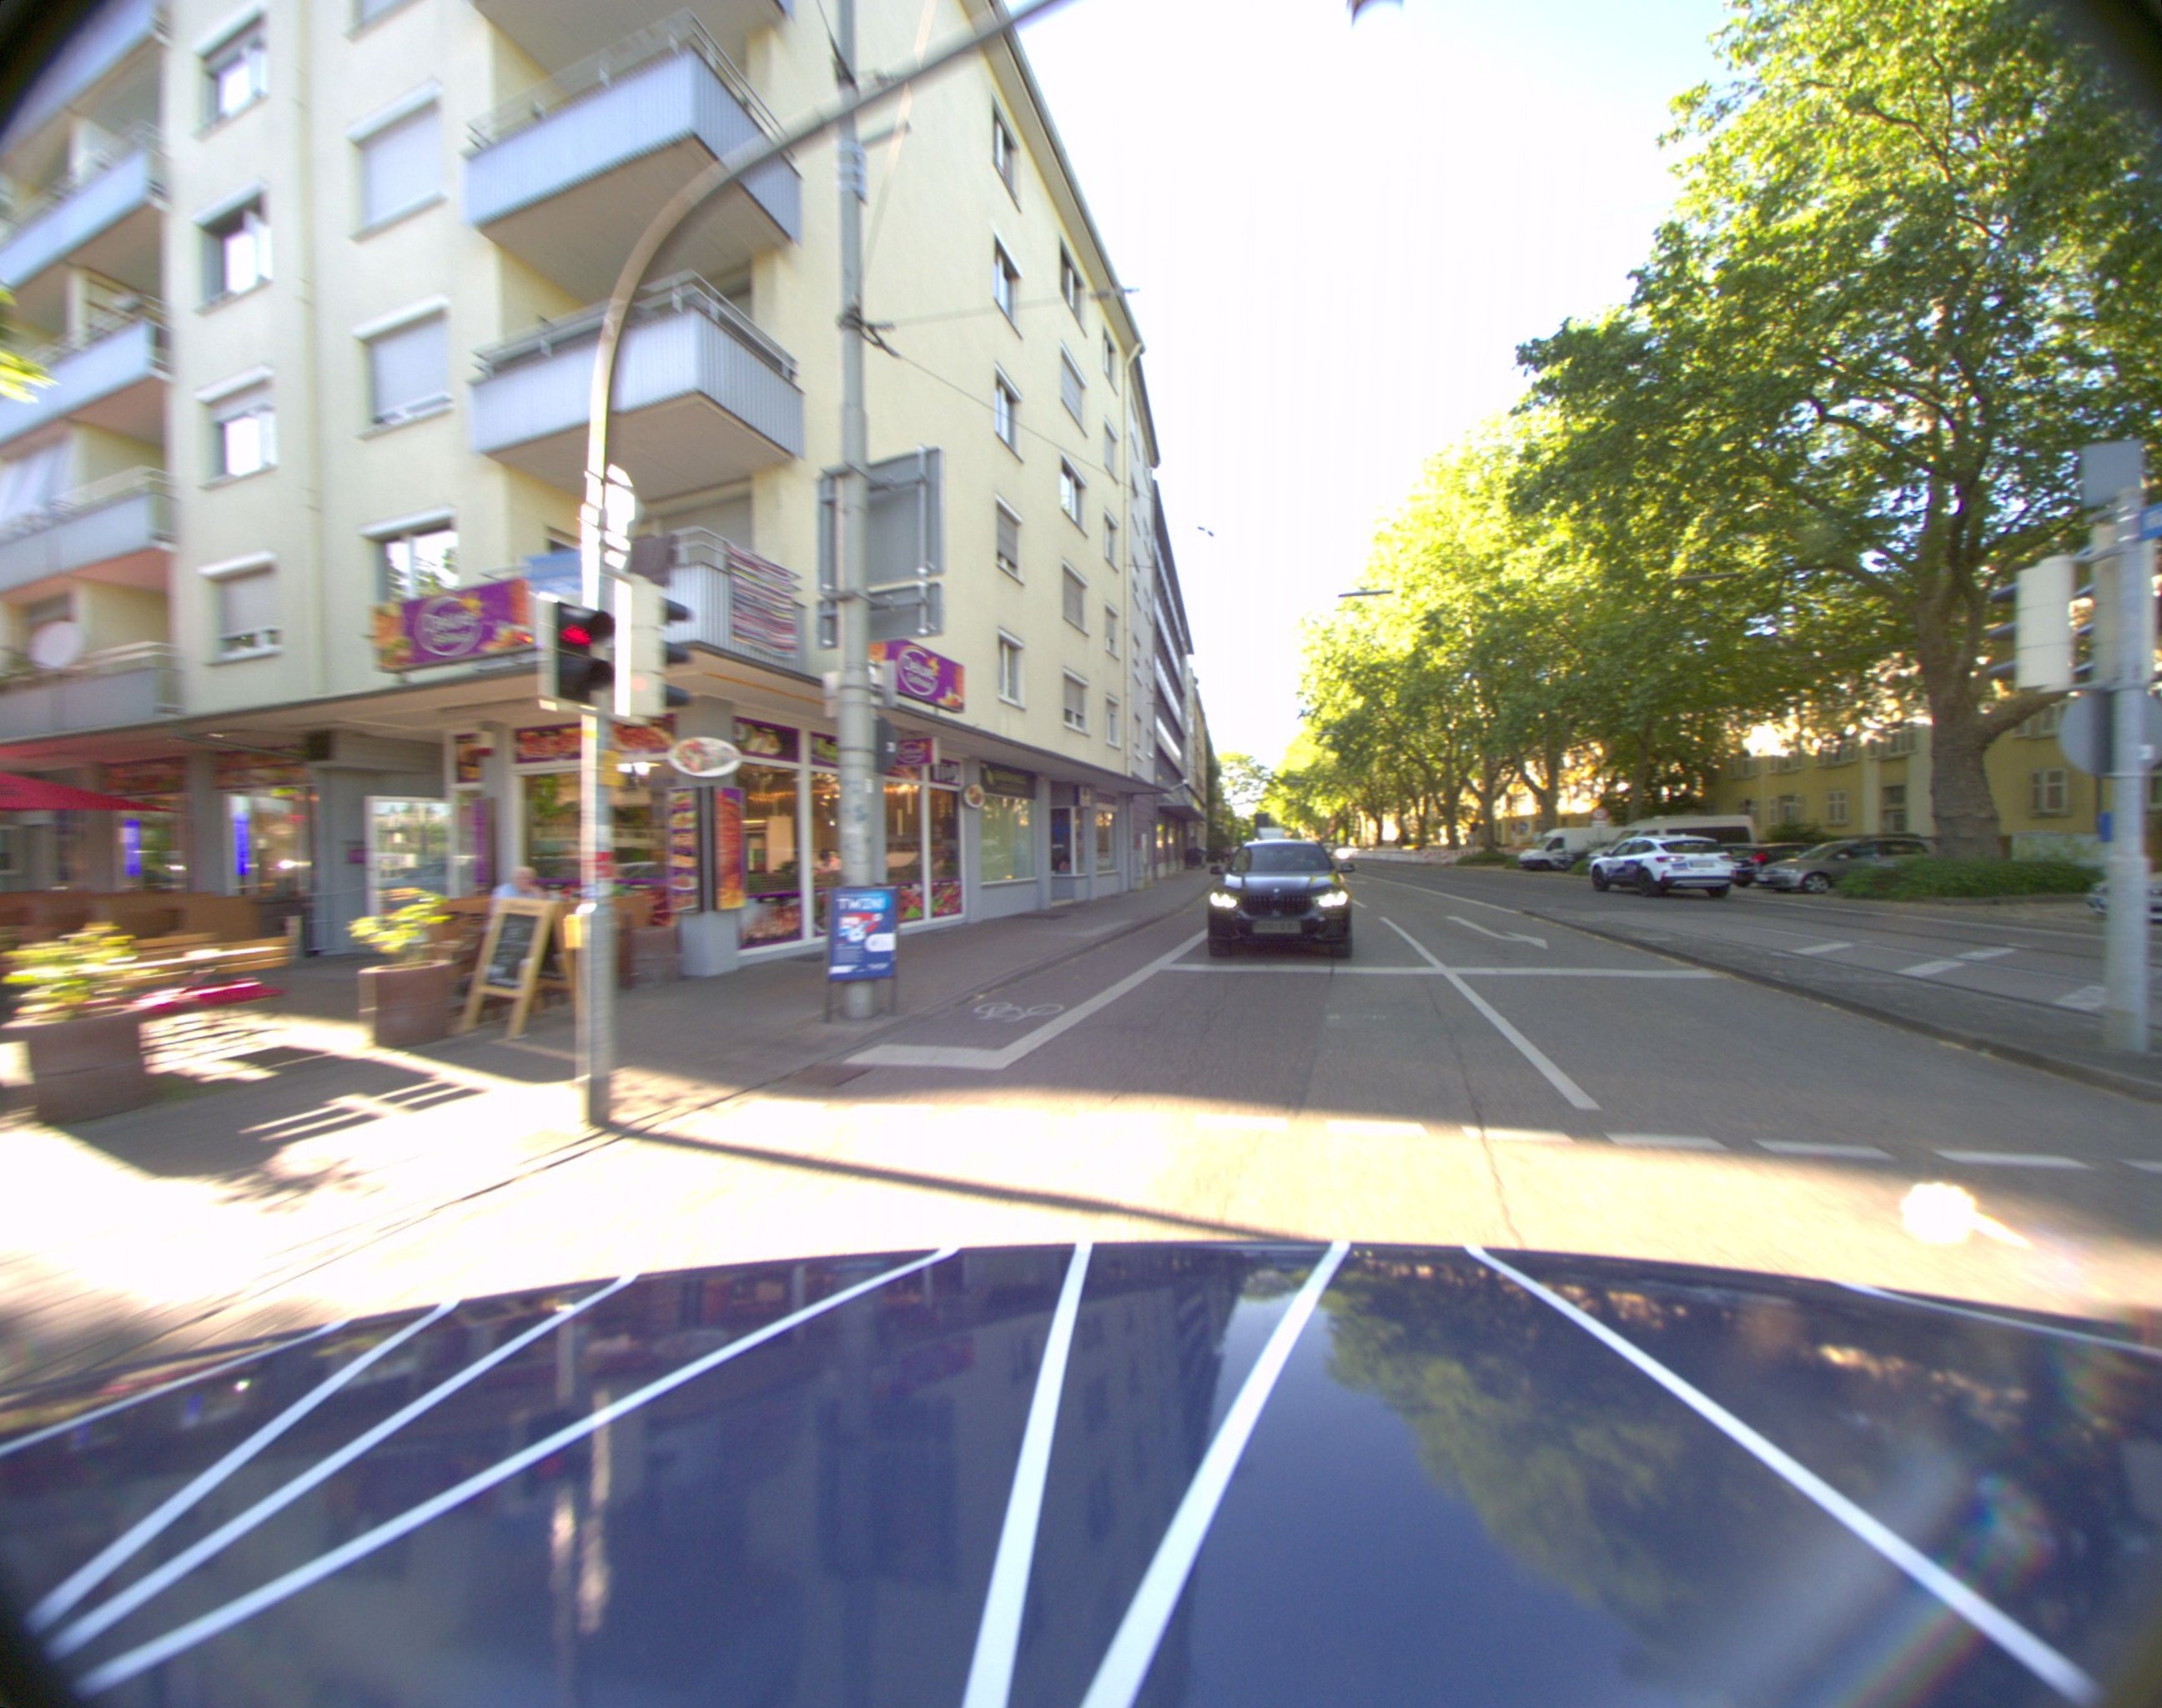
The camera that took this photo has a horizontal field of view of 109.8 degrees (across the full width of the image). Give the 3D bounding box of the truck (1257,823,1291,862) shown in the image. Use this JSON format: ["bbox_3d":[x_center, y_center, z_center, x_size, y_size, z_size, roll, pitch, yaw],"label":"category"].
[{"bbox_3d":[16.329,-1.026,64.542,2.341,3.096,5.215,-2,1,10],"label":"truck"}]

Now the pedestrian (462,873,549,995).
[{"bbox_3d":[-6.651,0.899,8.799,0.493,1.334,0.608,0,1,21],"label":"pedestrian"}]

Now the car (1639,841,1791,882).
[{"bbox_3d":[24.840,0.301,29.934,4.271,1.438,1.695,-2,1,15],"label":"car"}]

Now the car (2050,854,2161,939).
[{"bbox_3d":[20.654,0.698,13.426,4.076,1.361,1.846,-2,1,15],"label":"car"}]

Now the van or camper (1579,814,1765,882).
[{"bbox_3d":[25.202,-0.245,32.645,5.925,2.633,2.158,-2,2,14],"label":"van or camper"}]

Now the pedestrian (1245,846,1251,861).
[{"bbox_3d":[16.692,-0.048,75.913,0.540,1.437,0.631,0,1,15],"label":"pedestrian"}]

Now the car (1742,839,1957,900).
[{"bbox_3d":[22.479,0.441,22.417,4.076,1.610,1.846,-2,1,15],"label":"car"}]

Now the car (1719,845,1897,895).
[{"bbox_3d":[23.592,0.505,24.820,3.857,1.438,1.695,-2,1,15],"label":"car"}]

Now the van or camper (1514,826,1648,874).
[{"bbox_3d":[27.357,-0.238,41.787,5.757,2.371,2.158,-2,2,14],"label":"van or camper"}]

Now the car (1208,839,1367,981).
[{"bbox_3d":[3.247,0.696,12.047,1.928,1.742,4.687,-2,1,15],"label":"car"}]

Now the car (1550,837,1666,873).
[{"bbox_3d":[26.693,0.046,38.668,4.535,1.624,1.695,-2,1,15],"label":"car"}]

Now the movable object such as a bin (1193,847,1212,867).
[{"bbox_3d":[8.402,0.196,52.538,1.202,1.402,1.373,0,1,15],"label":"movable object such as a bin"}]

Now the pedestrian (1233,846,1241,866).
[{"bbox_3d":[13.038,0.154,63.493,0.540,1.662,0.631,0,1,15],"label":"pedestrian"}]

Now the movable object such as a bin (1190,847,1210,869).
[{"bbox_3d":[7.939,0.253,50.592,1.202,1.402,1.373,0,1,15],"label":"movable object such as a bin"}]

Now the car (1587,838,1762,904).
[{"bbox_3d":[16.265,0.405,21.192,1.997,1.622,4.634,-1,1,12],"label":"car"}]

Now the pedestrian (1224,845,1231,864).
[{"bbox_3d":[12.752,0.037,65.934,0.540,1.712,0.631,0,1,15],"label":"pedestrian"}]
